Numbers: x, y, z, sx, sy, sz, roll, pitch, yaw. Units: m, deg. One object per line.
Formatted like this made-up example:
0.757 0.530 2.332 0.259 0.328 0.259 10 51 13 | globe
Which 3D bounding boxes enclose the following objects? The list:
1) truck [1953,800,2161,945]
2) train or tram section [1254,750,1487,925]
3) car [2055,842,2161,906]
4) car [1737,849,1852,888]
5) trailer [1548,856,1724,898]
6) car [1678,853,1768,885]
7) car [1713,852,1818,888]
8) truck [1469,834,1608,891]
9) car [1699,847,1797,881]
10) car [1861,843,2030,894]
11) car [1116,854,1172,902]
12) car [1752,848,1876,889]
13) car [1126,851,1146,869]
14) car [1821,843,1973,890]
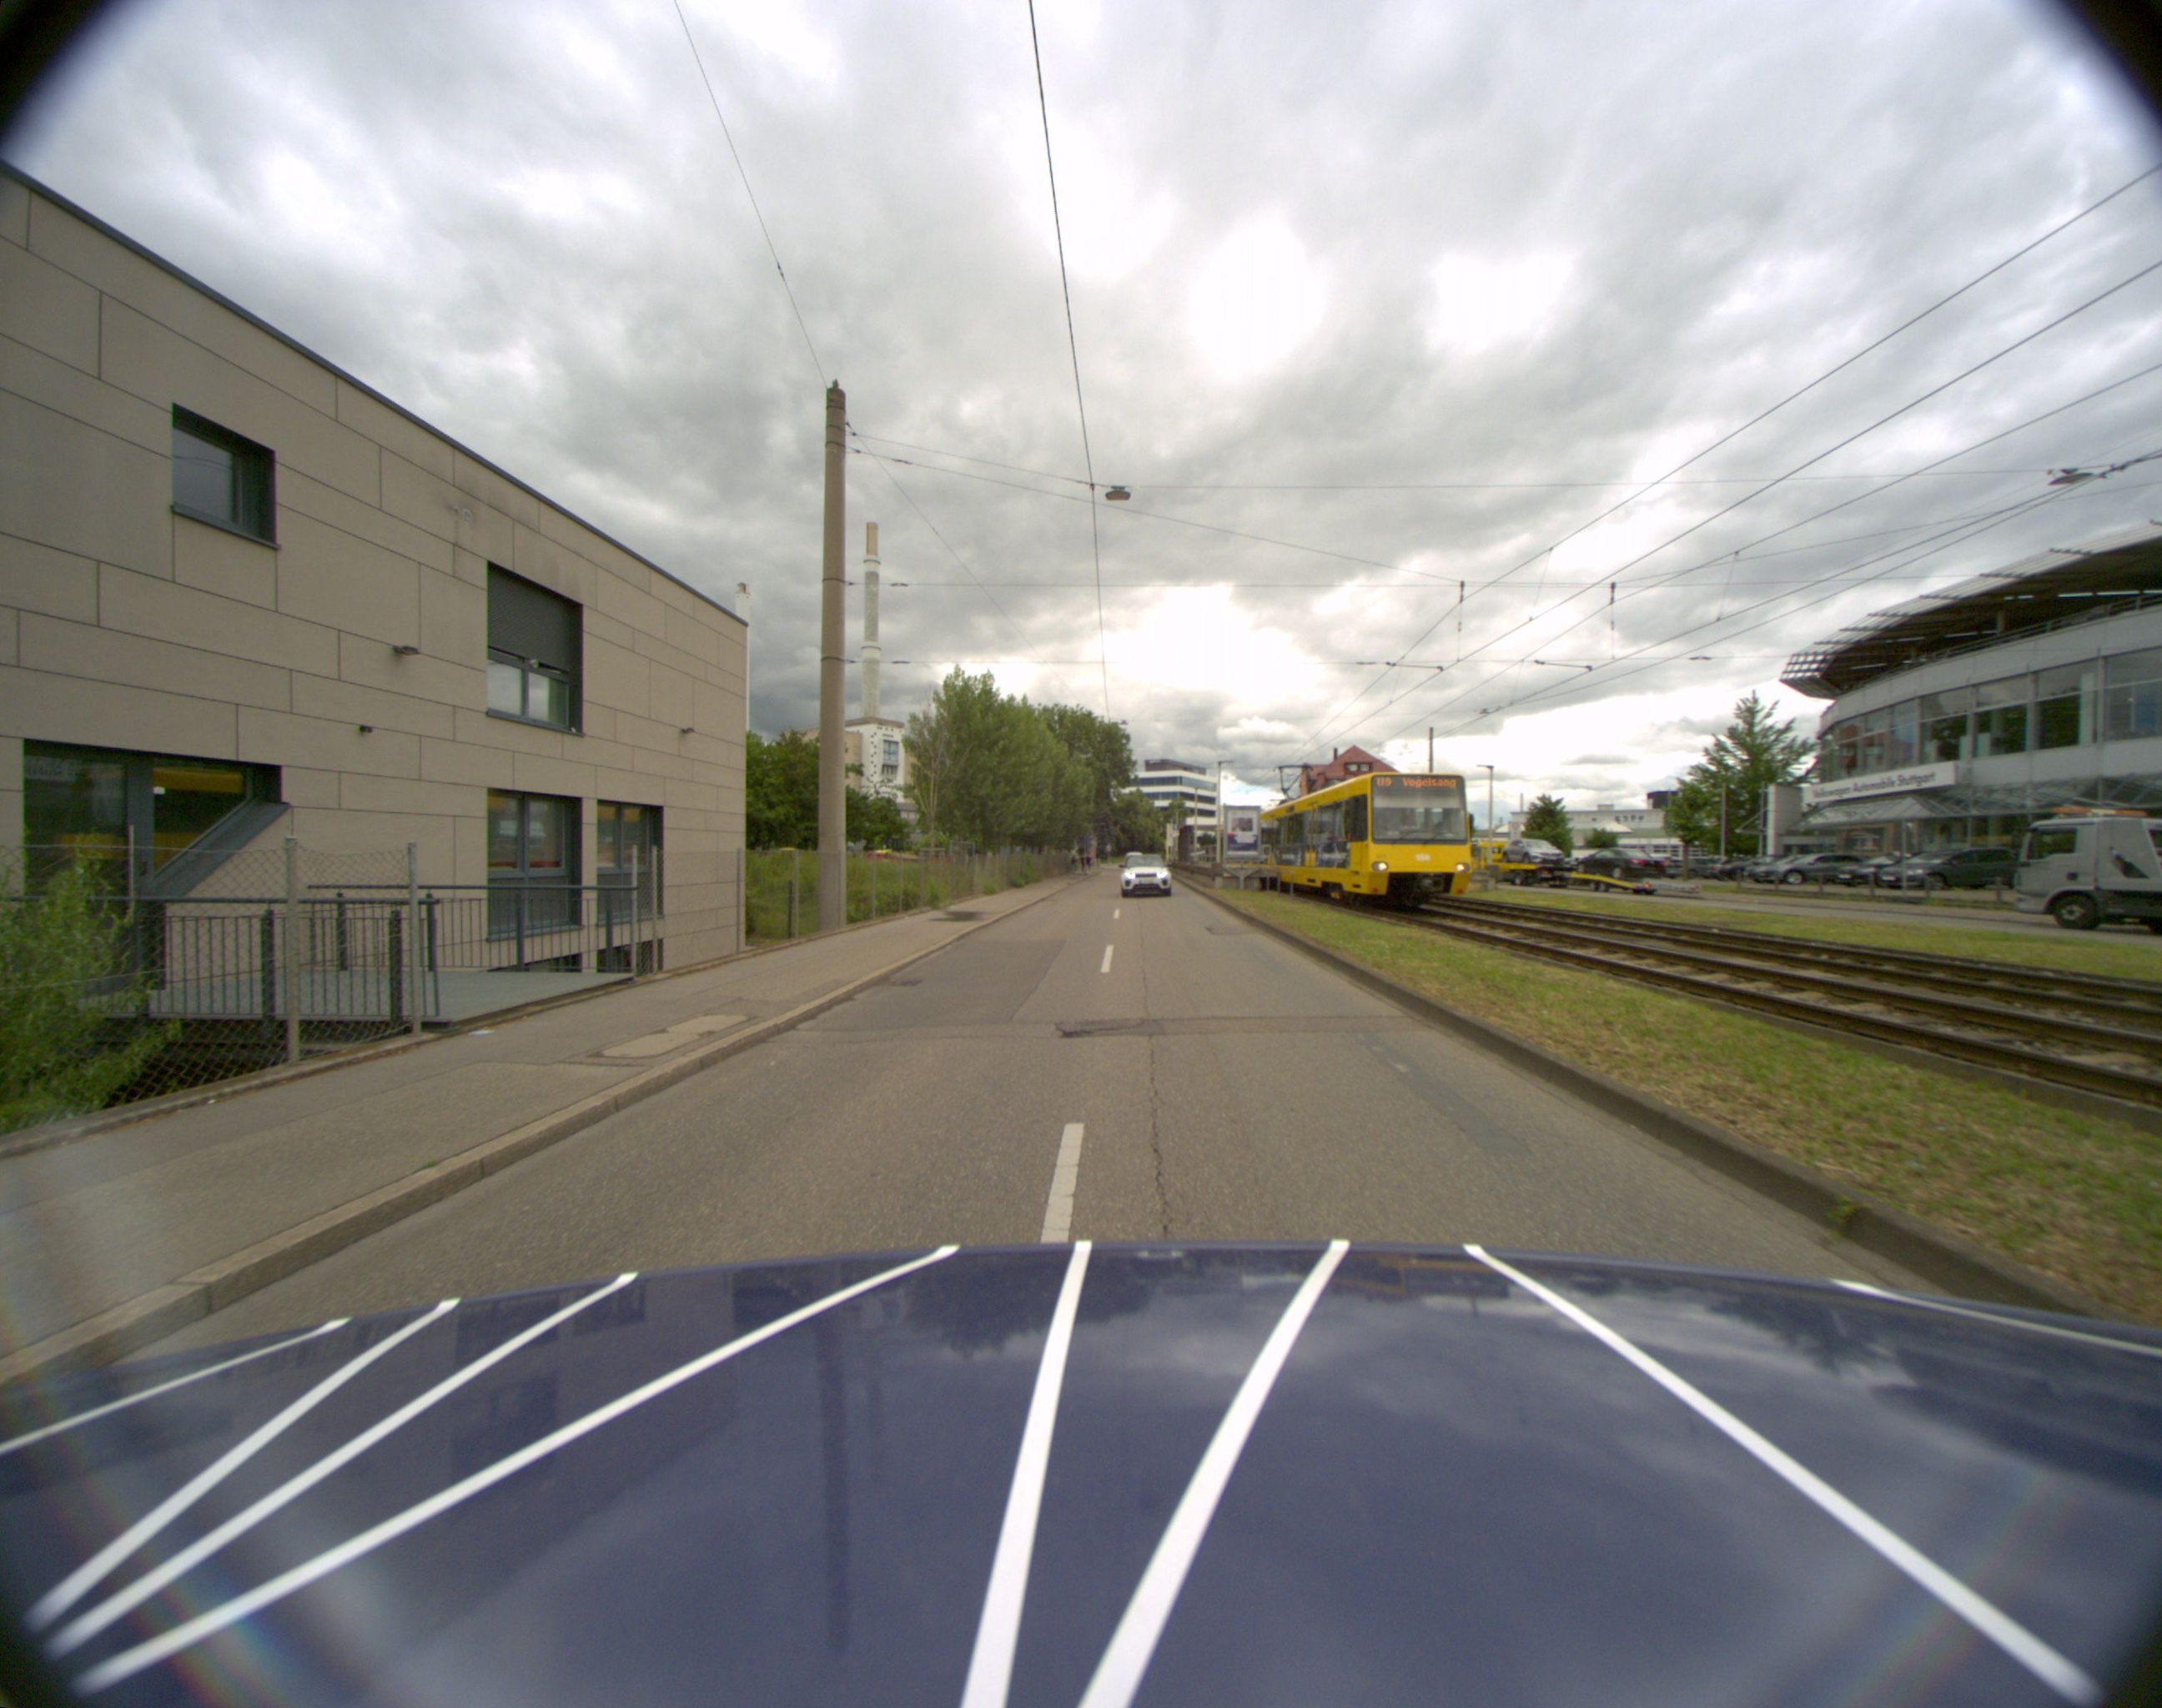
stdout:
23.066 0.426 14.369 3.114 2.905 8.964 2 0 4 | truck
8.613 -0.452 26.073 3.395 3.984 16.951 -1 1 7 | train or tram section
34.316 0.618 24.417 4.000 1.936 1.998 0 0 -9 | car
37.591 0.735 40.189 3.989 1.936 2.004 0 0 26 | car
24.720 0.931 34.482 2.984 1.678 7.571 0 0 5 | trailer
40.817 0.921 48.398 3.989 1.936 2.004 0 0 26 | car
38.469 0.883 42.830 3.989 1.936 2.004 0 0 26 | car
25.342 0.421 42.790 3.056 2.843 9.070 0 0 5 | truck
39.666 0.582 45.291 3.989 1.936 2.004 0 0 26 | car
34.415 0.552 30.395 3.992 1.936 2.002 0 0 16 | car
2.477 0.876 29.903 1.998 1.717 4.001 -1 0 5 | car
36.337 0.696 37.828 3.989 1.936 2.004 0 0 25 | car
5.886 0.677 82.043 1.998 1.881 4.627 0 0 2 | car
35.156 0.496 32.876 3.992 1.936 2.002 0 0 16 | car
